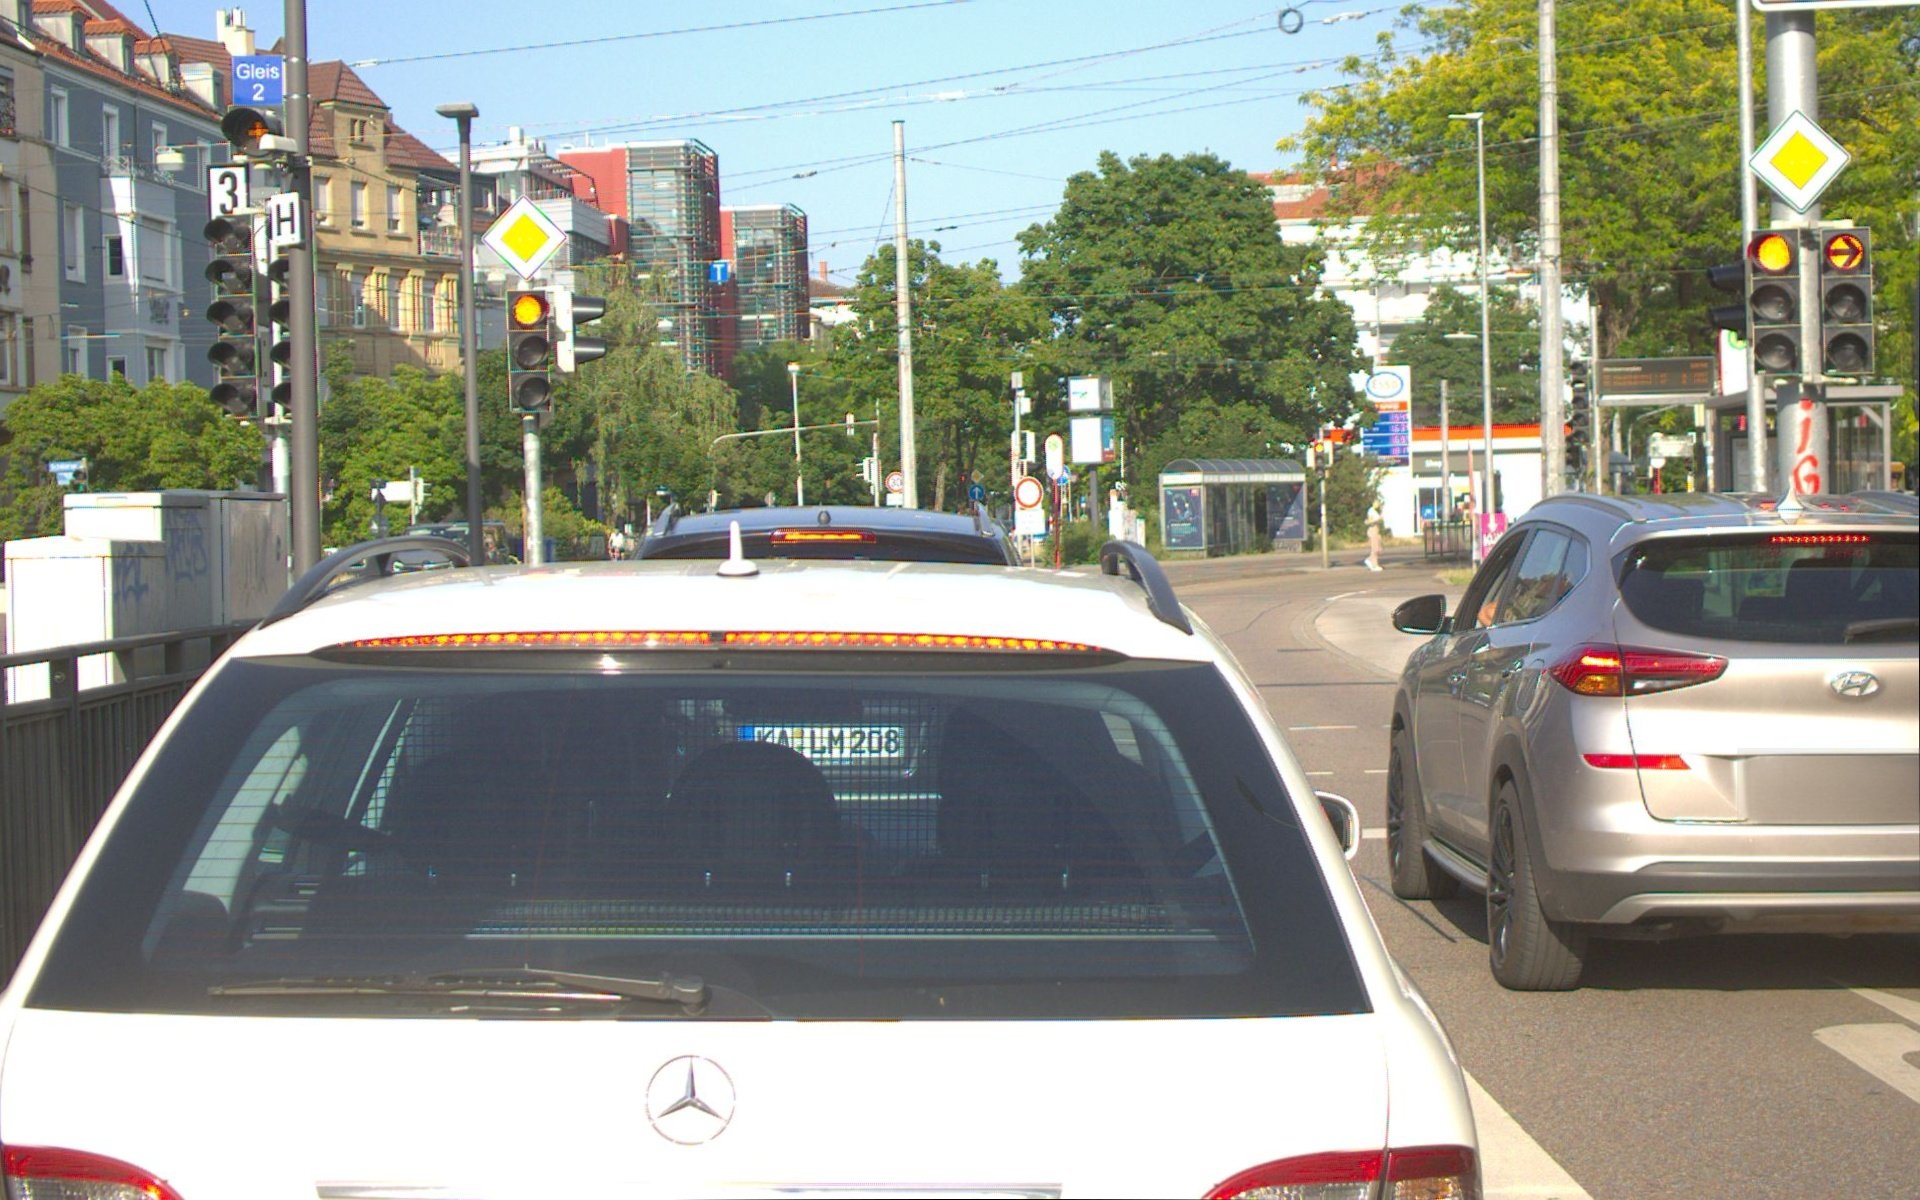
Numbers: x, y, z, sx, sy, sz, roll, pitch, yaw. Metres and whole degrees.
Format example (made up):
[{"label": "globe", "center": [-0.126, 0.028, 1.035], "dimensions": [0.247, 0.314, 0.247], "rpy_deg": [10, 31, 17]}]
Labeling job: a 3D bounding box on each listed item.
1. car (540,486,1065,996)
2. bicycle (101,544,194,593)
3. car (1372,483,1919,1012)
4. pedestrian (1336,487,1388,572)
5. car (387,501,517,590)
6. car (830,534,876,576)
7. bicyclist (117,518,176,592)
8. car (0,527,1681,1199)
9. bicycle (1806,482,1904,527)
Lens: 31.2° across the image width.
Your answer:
[{"label": "car", "center": [-0.515, 0.401, 12.672], "dimensions": [1.641, 1.594, 3.815], "rpy_deg": [0, 1, -1]}, {"label": "bicycle", "center": [-17.533, -0.690, 74.252], "dimensions": [0.741, 1.003, 1.994], "rpy_deg": [-1, 1, 31]}, {"label": "car", "center": [2.639, 0.404, 12.261], "dimensions": [1.835, 1.594, 3.815], "rpy_deg": [0, 1, -1]}, {"label": "pedestrian", "center": [9.750, -1.711, 83.362], "dimensions": [0.997, 2.007, 0.827], "rpy_deg": [-1, 1, 27]}, {"label": "car", "center": [-12.064, -1.317, 81.965], "dimensions": [2.145, 2.007, 5.387], "rpy_deg": [-2, 1, 1]}, {"label": "car", "center": [-4.319, -1.833, 139.264], "dimensions": [1.676, 1.520, 4.125], "rpy_deg": [-2, 2, 0]}, {"label": "bicyclist", "center": [-17.553, -0.970, 74.172], "dimensions": [0.660, 1.564, 1.041], "rpy_deg": [-1, 1, 31]}, {"label": "car", "center": [-0.274, 0.643, 5.089], "dimensions": [1.835, 1.496, 3.815], "rpy_deg": [0, 1, -1]}, {"label": "bicycle", "center": [19.841, -2.121, 76.171], "dimensions": [2.019, 0.943, 0.878], "rpy_deg": [-1, 1, 19]}]
